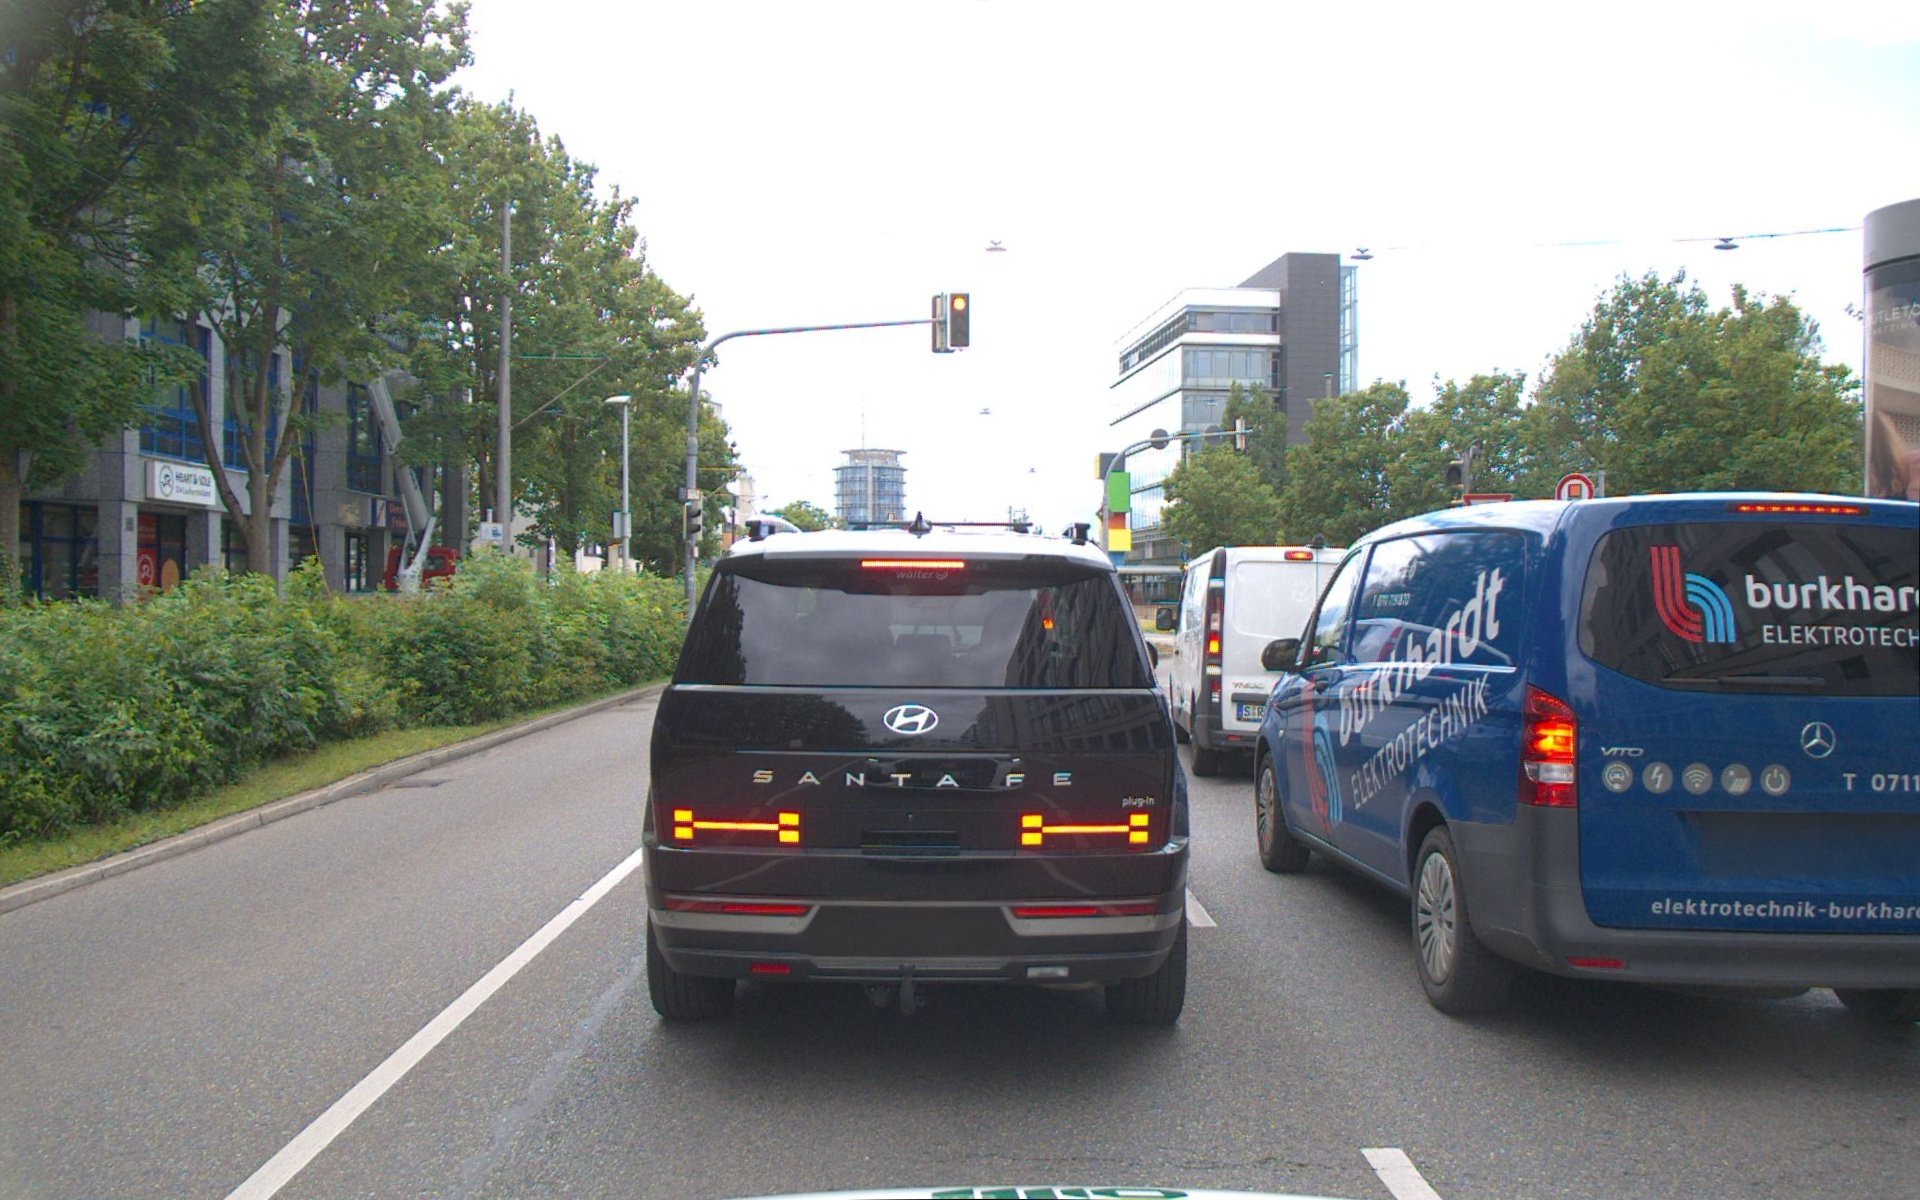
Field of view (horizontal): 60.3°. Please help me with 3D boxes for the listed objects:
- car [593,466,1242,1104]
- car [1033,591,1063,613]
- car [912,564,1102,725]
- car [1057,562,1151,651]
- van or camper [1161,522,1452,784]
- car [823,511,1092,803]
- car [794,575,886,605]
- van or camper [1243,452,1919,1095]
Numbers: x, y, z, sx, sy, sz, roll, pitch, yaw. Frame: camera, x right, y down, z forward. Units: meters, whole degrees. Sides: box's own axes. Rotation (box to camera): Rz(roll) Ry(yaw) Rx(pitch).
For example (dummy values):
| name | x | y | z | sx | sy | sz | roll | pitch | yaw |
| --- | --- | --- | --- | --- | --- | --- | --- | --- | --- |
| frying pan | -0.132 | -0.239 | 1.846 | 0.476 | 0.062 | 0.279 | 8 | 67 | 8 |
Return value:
| name | x | y | z | sx | sy | sz | roll | pitch | yaw |
| --- | --- | --- | --- | --- | --- | --- | --- | --- | --- |
| car | -0.142 | 0.512 | 6.606 | 1.831 | 1.791 | 3.879 | 0 | 0 | -1 |
| car | 7.015 | 0.154 | 131.910 | 1.954 | 1.713 | 3.997 | 1 | 0 | -3 |
| car | 0.700 | 0.504 | 20.430 | 1.738 | 1.747 | 4.342 | 1 | 0 | 10 |
| car | 3.463 | 0.167 | 40.462 | 1.952 | 2.049 | 4.000 | 1 | 0 | 0 |
| van or camper | 3.026 | 0.408 | 15.443 | 1.952 | 2.049 | 4.654 | 1 | 0 | 3 |
| car | -0.047 | 0.388 | 13.480 | 1.876 | 2.038 | 3.879 | 0 | 0 | -1 |
| car | -6.877 | -0.543 | 94.589 | 5.180 | 1.624 | 1.997 | 1 | -1 | -6 |
| van or camper | 2.664 | 0.514 | 7.537 | 1.822 | 1.944 | 5.031 | 0 | 0 | -1 |
